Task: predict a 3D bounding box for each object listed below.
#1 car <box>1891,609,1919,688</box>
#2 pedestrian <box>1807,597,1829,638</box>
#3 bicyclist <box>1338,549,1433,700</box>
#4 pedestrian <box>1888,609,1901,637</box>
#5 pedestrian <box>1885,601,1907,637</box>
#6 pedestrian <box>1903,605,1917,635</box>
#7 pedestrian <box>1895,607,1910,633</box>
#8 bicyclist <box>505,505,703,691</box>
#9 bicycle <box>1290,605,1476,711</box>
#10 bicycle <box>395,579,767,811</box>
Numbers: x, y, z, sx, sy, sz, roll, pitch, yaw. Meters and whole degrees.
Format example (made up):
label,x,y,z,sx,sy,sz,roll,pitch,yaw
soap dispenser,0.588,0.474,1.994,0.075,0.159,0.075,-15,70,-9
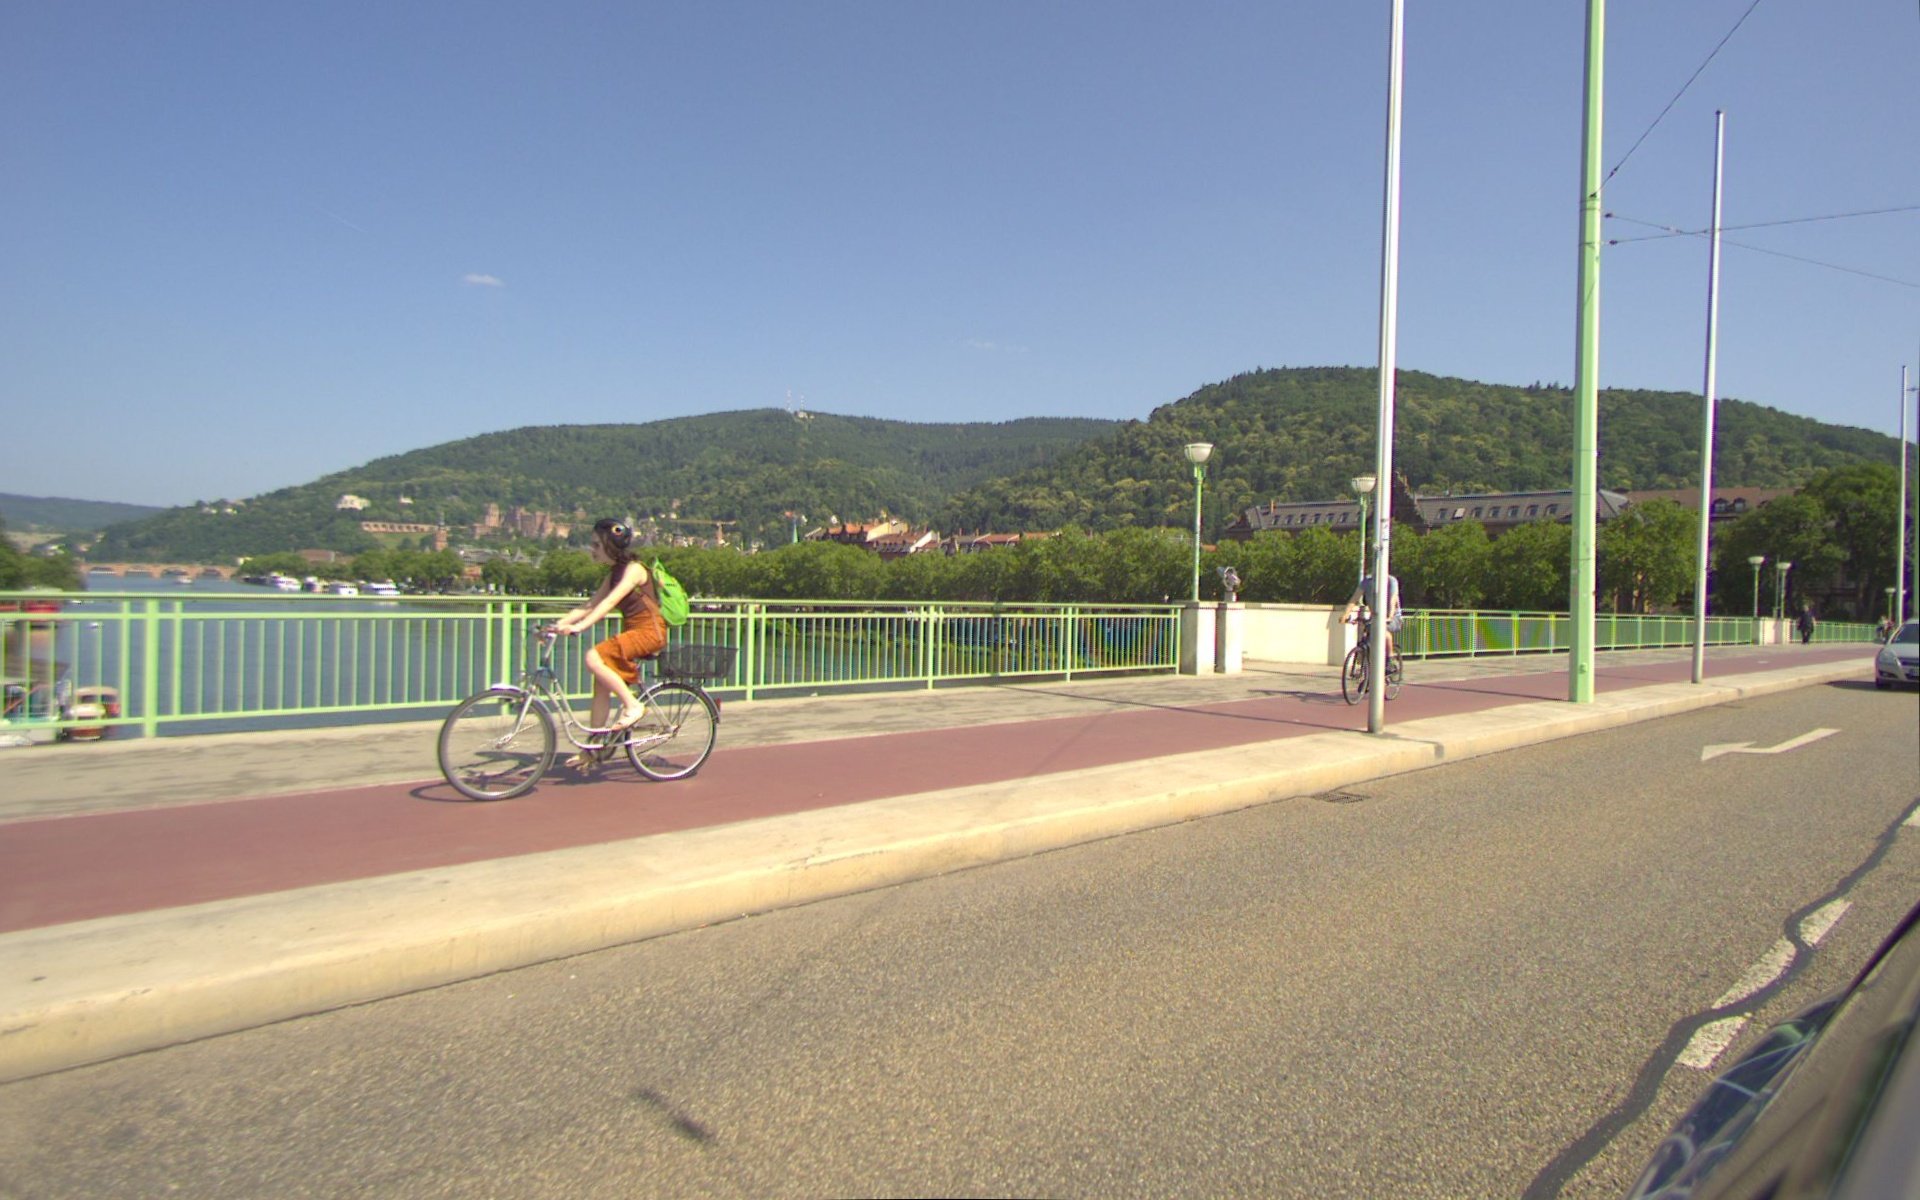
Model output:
label,x,y,z,sx,sy,sz,roll,pitch,yaw
car,20.502,1.007,20.767,4.421,1.520,1.799,2,-1,-44
pedestrian,37.542,0.767,44.260,0.655,1.766,0.962,1,-2,44
bicyclist,5.249,0.273,12.472,0.673,1.765,1.132,2,1,45
pedestrian,57.142,1.379,61.888,0.523,1.670,0.688,1,0,44
pedestrian,53.785,1.086,58.160,0.874,2.039,1.042,1,0,44
pedestrian,57.628,1.217,61.379,0.585,1.816,0.622,1,0,45
pedestrian,60.725,1.285,65.191,0.679,1.652,0.651,2,-2,-40
bicyclist,-2.222,-0.016,6.340,0.964,1.058,0.667,1,0,-44
bicycle,5.363,0.639,12.598,0.793,1.109,3.684,2,2,45
bicycle,-2.276,0.500,6.298,2.045,1.208,0.696,0,1,-44
